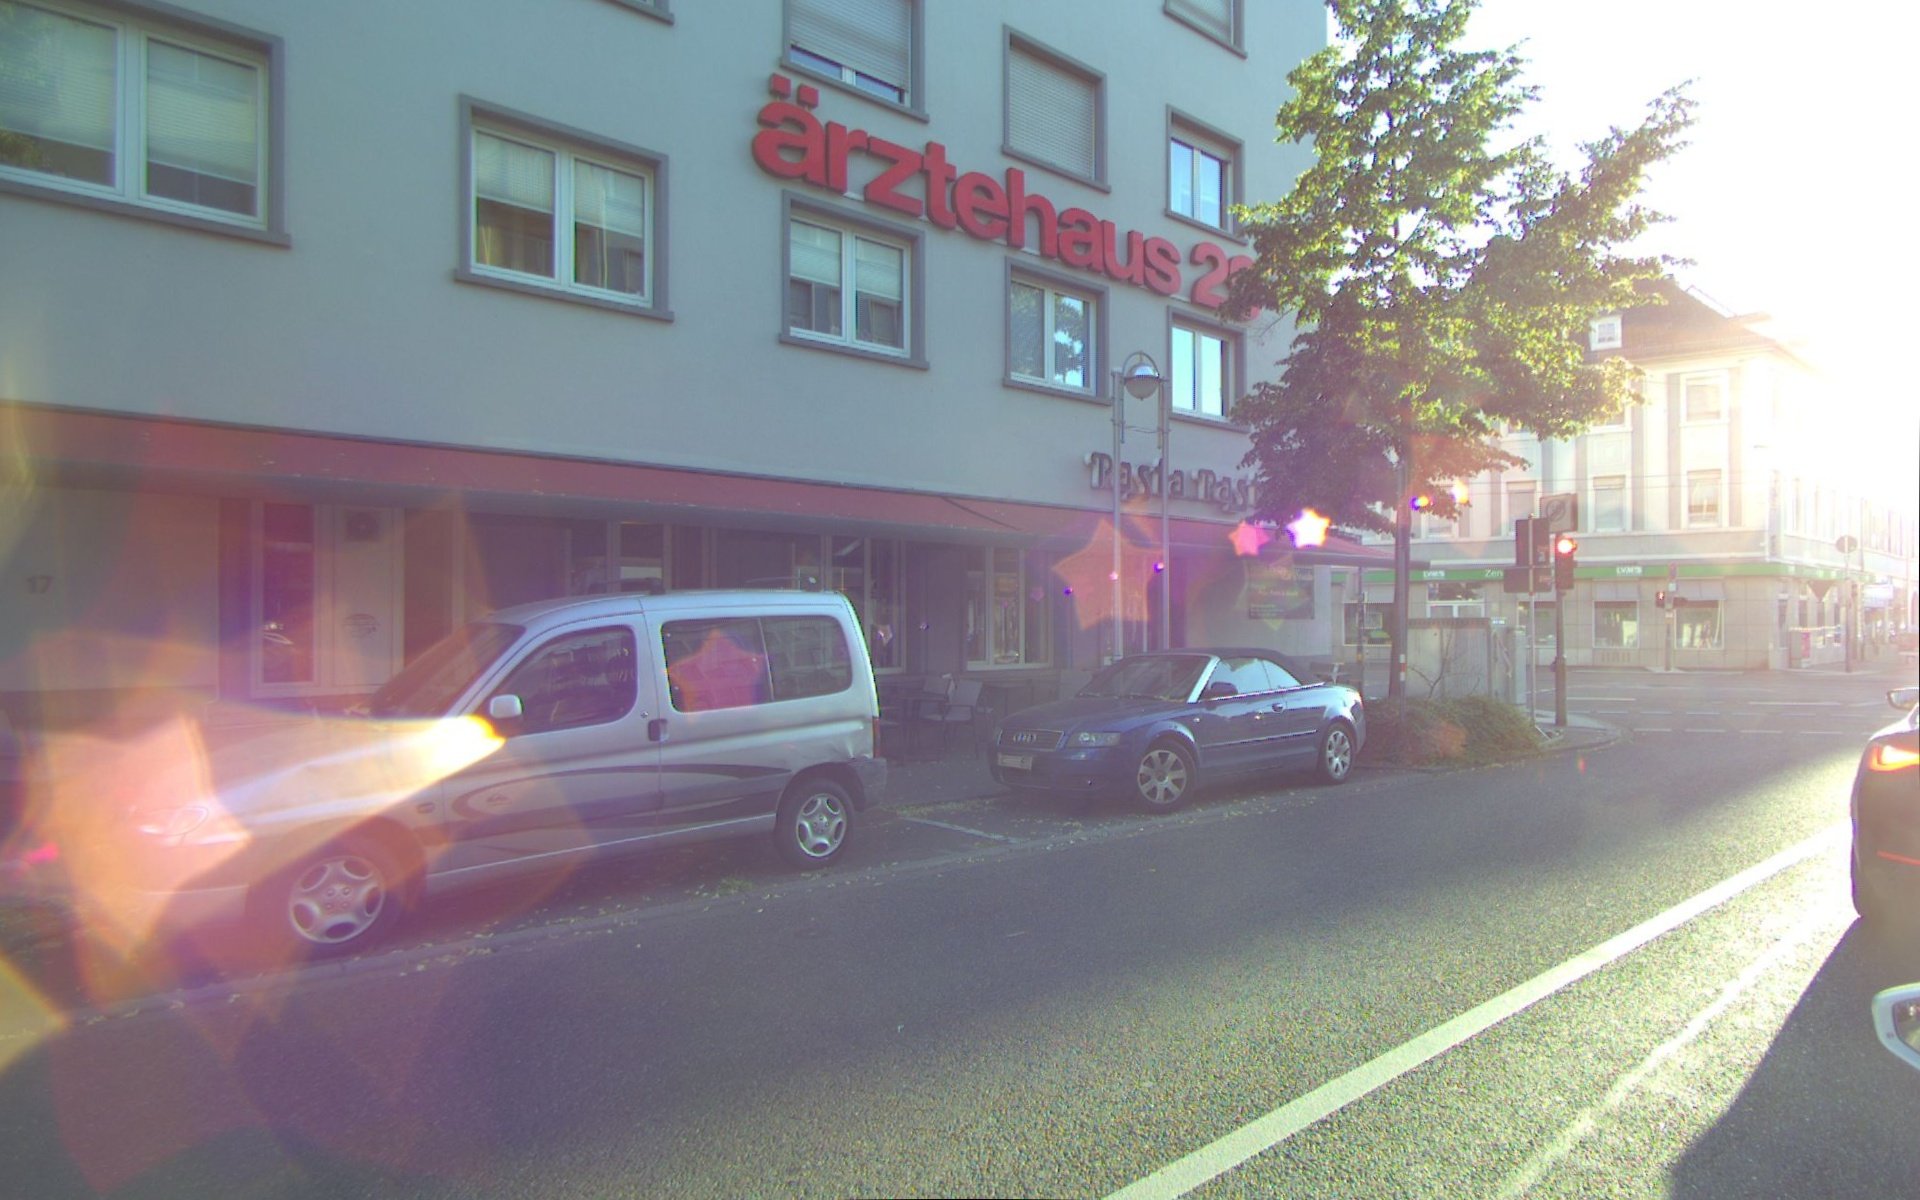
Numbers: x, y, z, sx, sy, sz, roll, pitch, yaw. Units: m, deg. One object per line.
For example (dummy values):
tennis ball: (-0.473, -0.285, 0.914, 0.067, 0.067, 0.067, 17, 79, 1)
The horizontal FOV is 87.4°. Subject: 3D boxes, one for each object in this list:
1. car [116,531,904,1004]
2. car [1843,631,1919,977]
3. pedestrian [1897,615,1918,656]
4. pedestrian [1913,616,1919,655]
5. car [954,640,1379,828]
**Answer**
car: (-2.430, 0.760, 6.044, 4.022, 1.912, 1.655, 2, -4, -41)
car: (6.066, 0.904, 5.108, 4.188, 1.447, 1.723, 1, -1, -39)
pedestrian: (45.266, 1.695, 47.988, 0.626, 1.901, 0.638, 1, 0, -38)
pedestrian: (46.622, 1.726, 48.632, 0.673, 1.901, 0.610, 1, 0, -42)
car: (2.126, 1.125, 9.698, 4.244, 1.434, 1.710, 2, -4, -39)
